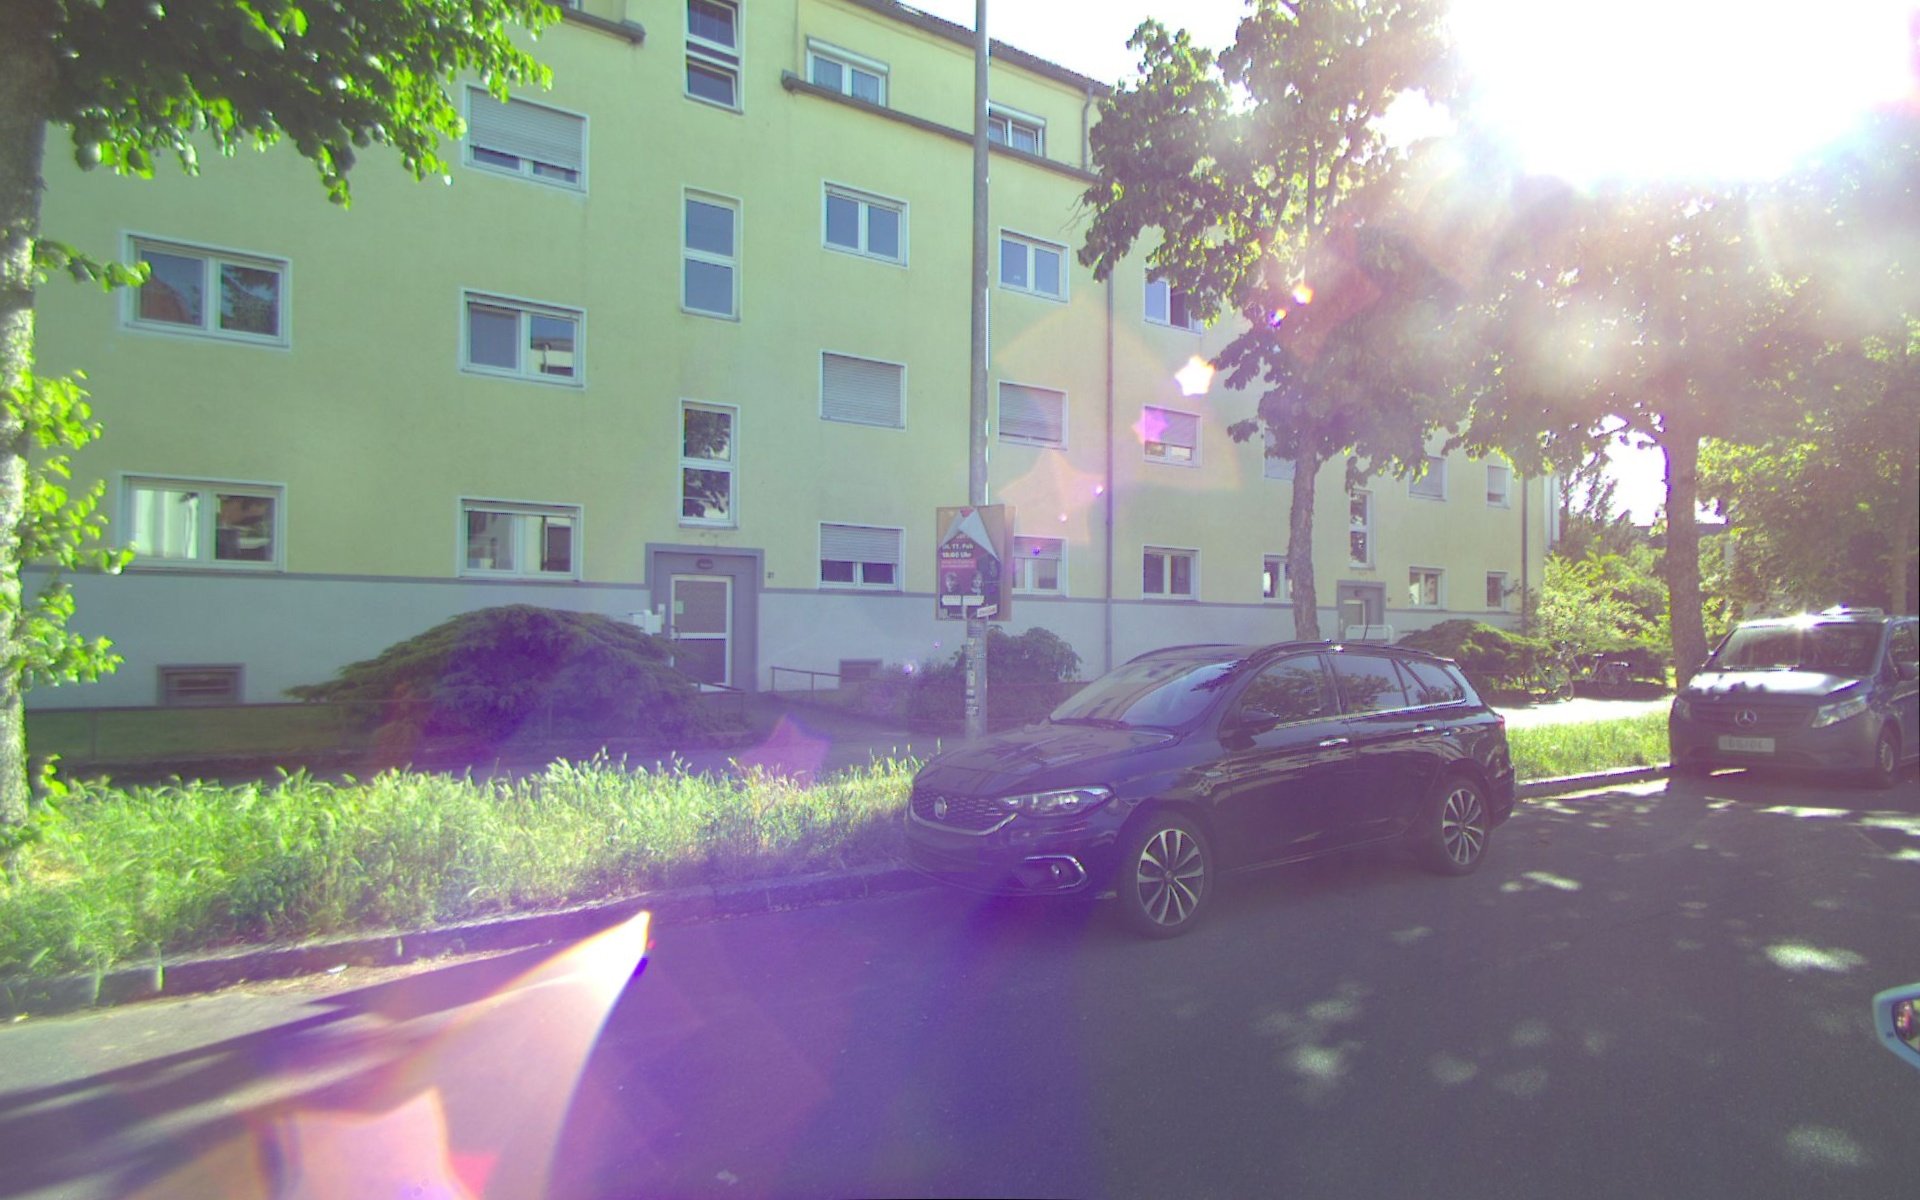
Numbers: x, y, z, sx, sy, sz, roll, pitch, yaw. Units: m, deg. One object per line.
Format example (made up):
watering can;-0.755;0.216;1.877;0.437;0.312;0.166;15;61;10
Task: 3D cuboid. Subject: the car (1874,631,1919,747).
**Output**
car;15.350;1.287;14.980;4.186;1.632;1.602;2;-3;-34

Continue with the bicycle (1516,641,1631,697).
bicycle;13.981;1.552;22.945;0.685;1.224;2.126;2;-3;-42

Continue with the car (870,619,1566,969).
car;1.862;0.981;6.454;4.726;1.568;1.499;2;-4;-33

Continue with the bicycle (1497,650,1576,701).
bicycle;11.954;1.545;20.801;1.906;1.004;0.591;1;-2;-32

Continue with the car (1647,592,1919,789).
car;10.496;0.995;12.006;5.084;1.929;1.817;2;-3;-32

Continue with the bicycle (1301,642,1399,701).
bicycle;6.908;1.240;17.767;1.906;1.004;0.591;1;-2;-32
